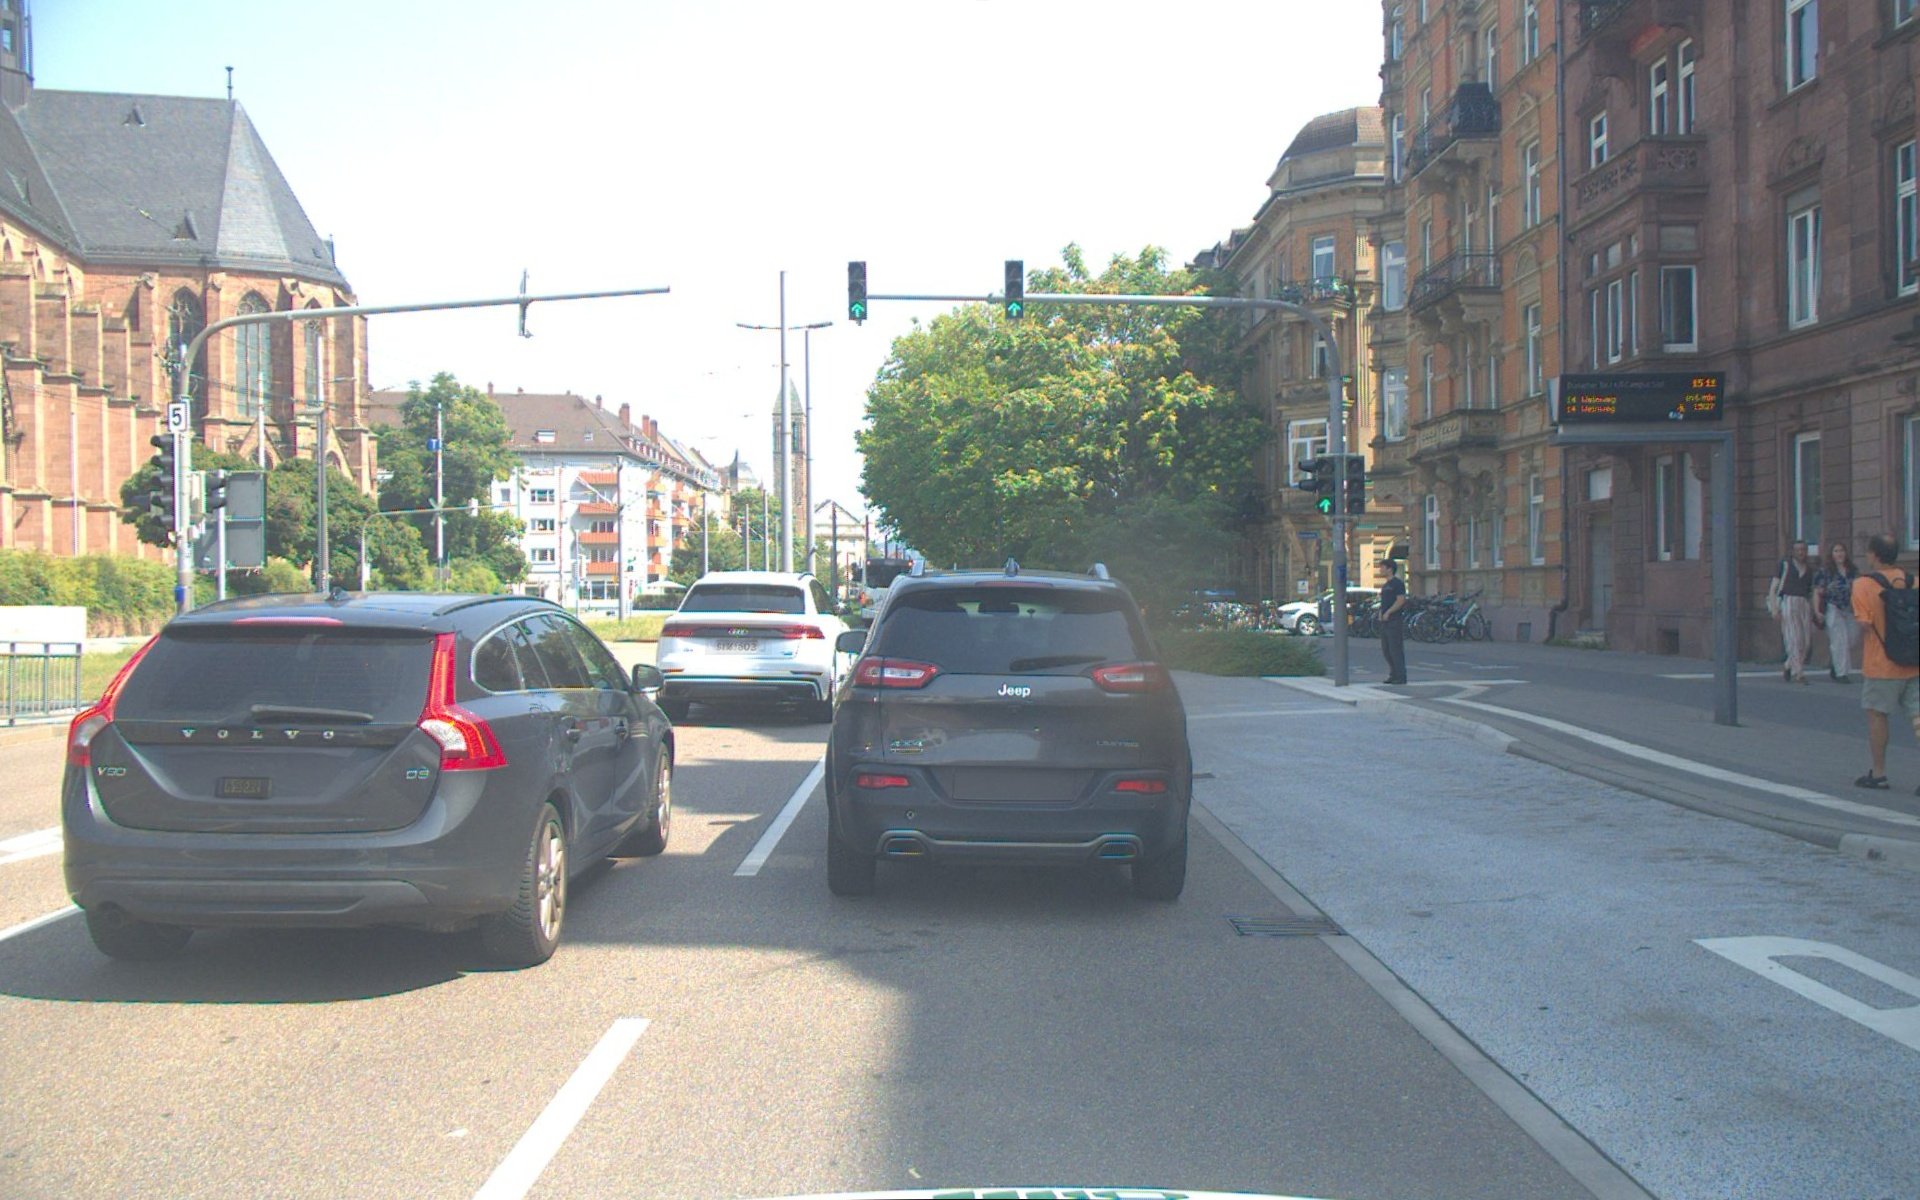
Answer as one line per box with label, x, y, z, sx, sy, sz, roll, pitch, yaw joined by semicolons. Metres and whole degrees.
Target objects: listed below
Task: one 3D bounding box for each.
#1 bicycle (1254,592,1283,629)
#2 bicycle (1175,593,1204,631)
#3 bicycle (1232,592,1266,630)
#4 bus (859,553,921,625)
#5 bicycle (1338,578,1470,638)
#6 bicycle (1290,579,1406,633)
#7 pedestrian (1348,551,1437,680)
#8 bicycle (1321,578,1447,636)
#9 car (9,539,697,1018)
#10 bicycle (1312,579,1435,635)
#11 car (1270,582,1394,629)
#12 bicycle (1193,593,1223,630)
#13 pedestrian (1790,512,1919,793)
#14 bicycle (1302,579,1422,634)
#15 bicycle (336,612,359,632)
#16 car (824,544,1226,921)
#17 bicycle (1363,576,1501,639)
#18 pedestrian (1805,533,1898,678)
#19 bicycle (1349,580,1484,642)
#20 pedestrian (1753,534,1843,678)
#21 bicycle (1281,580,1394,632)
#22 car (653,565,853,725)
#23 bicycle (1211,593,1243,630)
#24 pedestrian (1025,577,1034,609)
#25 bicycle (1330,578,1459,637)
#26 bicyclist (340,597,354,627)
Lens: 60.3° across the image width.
bicycle;11.011;0.358;59.061;0.644;1.271;2.413;-1;0;2
bicycle;8.123;0.412;58.595;0.636;1.275;3.014;-1;0;1
bicycle;10.229;0.374;58.616;0.747;1.275;3.014;-1;0;2
bus;-3.294;-0.490;79.797;2.688;3.161;11.951;1;0;-2
bicycle;10.725;0.188;39.981;2.933;1.395;0.871;-1;0;-2
bicycle;10.610;0.158;45.292;2.943;1.397;0.947;-1;0;-2
pedestrian;6.143;0.216;23.492;0.759;1.771;0.891;-2;0;-33
bicycle;10.722;0.171;41.872;2.943;1.397;0.947;-1;0;-2
car;-2.437;0.603;7.866;1.712;1.642;4.308;1;0;-1
bicycle;10.718;0.174;42.967;2.943;1.397;0.947;-1;0;-2
car;12.943;0.184;57.675;3.858;1.547;1.680;-1;0;-8
bicycle;8.771;0.398;58.580;0.636;1.275;3.014;-1;0;1
pedestrian;6.291;0.327;11.013;0.944;1.771;1.240;-1;0;4
bicycle;10.665;0.171;43.976;2.943;1.397;0.947;-1;0;-2
bicycle;-27.881;1.013;75.291;0.444;0.874;1.476;-1;0;1
car;0.308;0.581;9.601;1.795;1.680;4.308;1;0;0
bicycle;10.881;0.165;38.164;2.933;1.395;0.871;-1;0;-2
pedestrian;11.449;0.068;21.265;0.700;1.809;0.870;-1;0;-2
bicycle;10.778;0.261;39.068;2.933;1.395;0.871;-1;0;-2
pedestrian;10.733;0.072;21.211;0.700;1.807;0.847;-1;0;-2
bicycle;10.555;0.168;46.333;2.943;1.397;0.947;-1;0;-2
car;-2.314;0.453;19.569;1.863;1.680;4.308;0;1;-1
bicycle;9.456;0.388;58.590;0.717;1.275;3.014;-1;0;2
pedestrian;4.425;-0.452;104.945;0.518;2.049;0.532;-1;0;-3
bicycle;10.735;0.182;40.928;2.933;1.395;0.871;-1;0;-2
bicyclist;-27.889;0.559;75.264;0.439;1.344;0.425;-1;0;0
